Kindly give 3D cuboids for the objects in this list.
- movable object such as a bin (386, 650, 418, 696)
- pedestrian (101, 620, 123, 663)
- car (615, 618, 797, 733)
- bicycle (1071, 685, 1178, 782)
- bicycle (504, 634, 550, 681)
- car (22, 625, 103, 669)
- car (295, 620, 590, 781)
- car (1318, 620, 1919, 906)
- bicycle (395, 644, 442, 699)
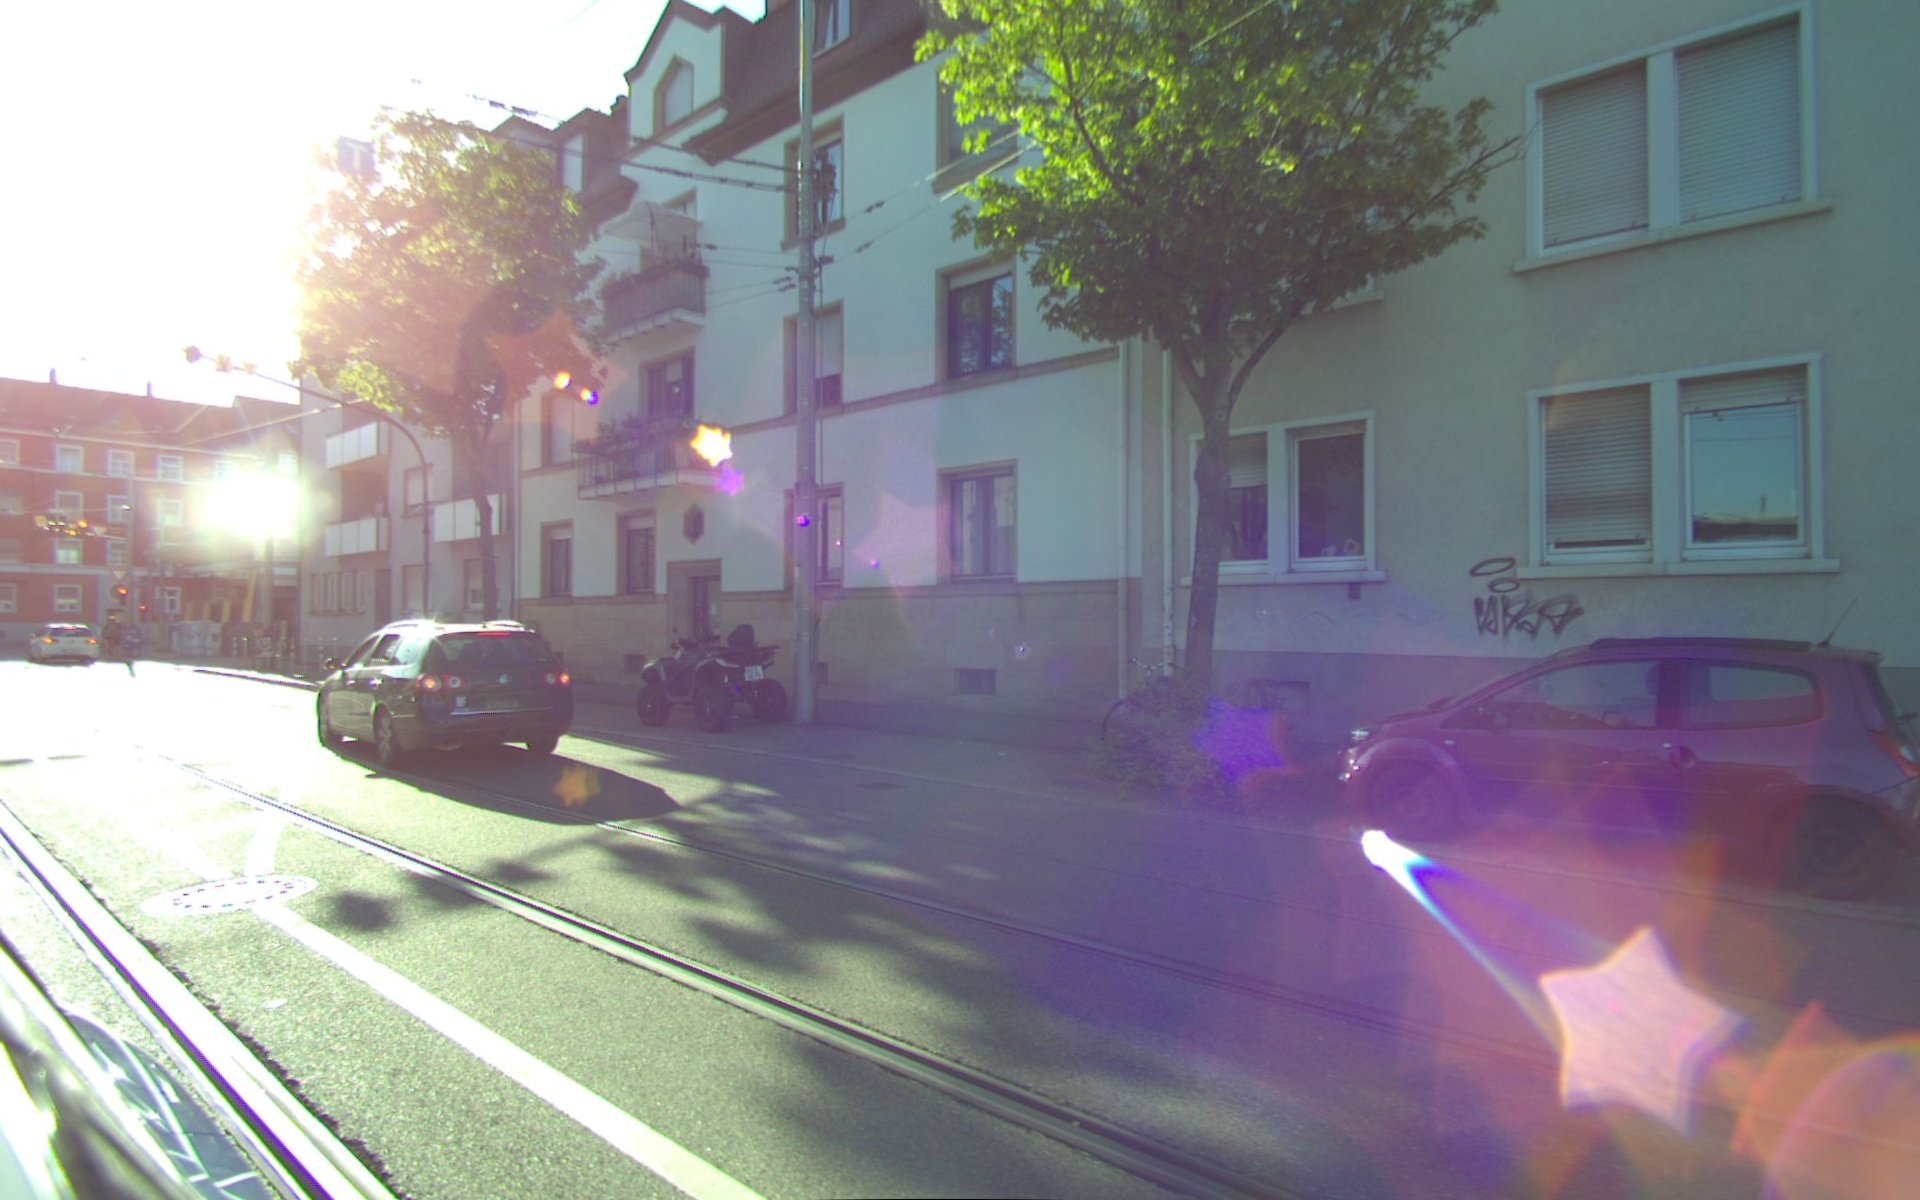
[{"bbox_3d":[-11.869,1.546,21.536,0.582,0.942,0.420,-1,-1,42],"label":"movable object such as a bin"},{"bbox_3d":[-35.879,1.759,42.823,0.583,1.787,0.631,-1,-1,41],"label":"pedestrian"},{"bbox_3d":[-3.750,1.090,14.820,2.546,1.514,1.341,-5,-3,41],"label":"car"},{"bbox_3d":[1.768,1.368,10.655,0.276,0.808,1.769,-1,0,39],"label":"bicycle"},{"bbox_3d":[-10.101,1.324,23.599,1.661,1.050,0.299,-1,-1,42],"label":"bicycle"},{"bbox_3d":[-34.620,1.766,39.006,3.998,1.536,1.898,-1,0,42],"label":"car"},{"bbox_3d":[-6.137,0.985,11.694,1.745,1.474,4.751,2,-2,-43],"label":"car"},{"bbox_3d":[4.733,0.914,6.955,3.998,1.516,1.555,-1,0,42],"label":"car"},{"bbox_3d":[-11.062,1.438,20.651,1.661,1.050,0.299,-1,-1,42],"label":"bicycle"}]
